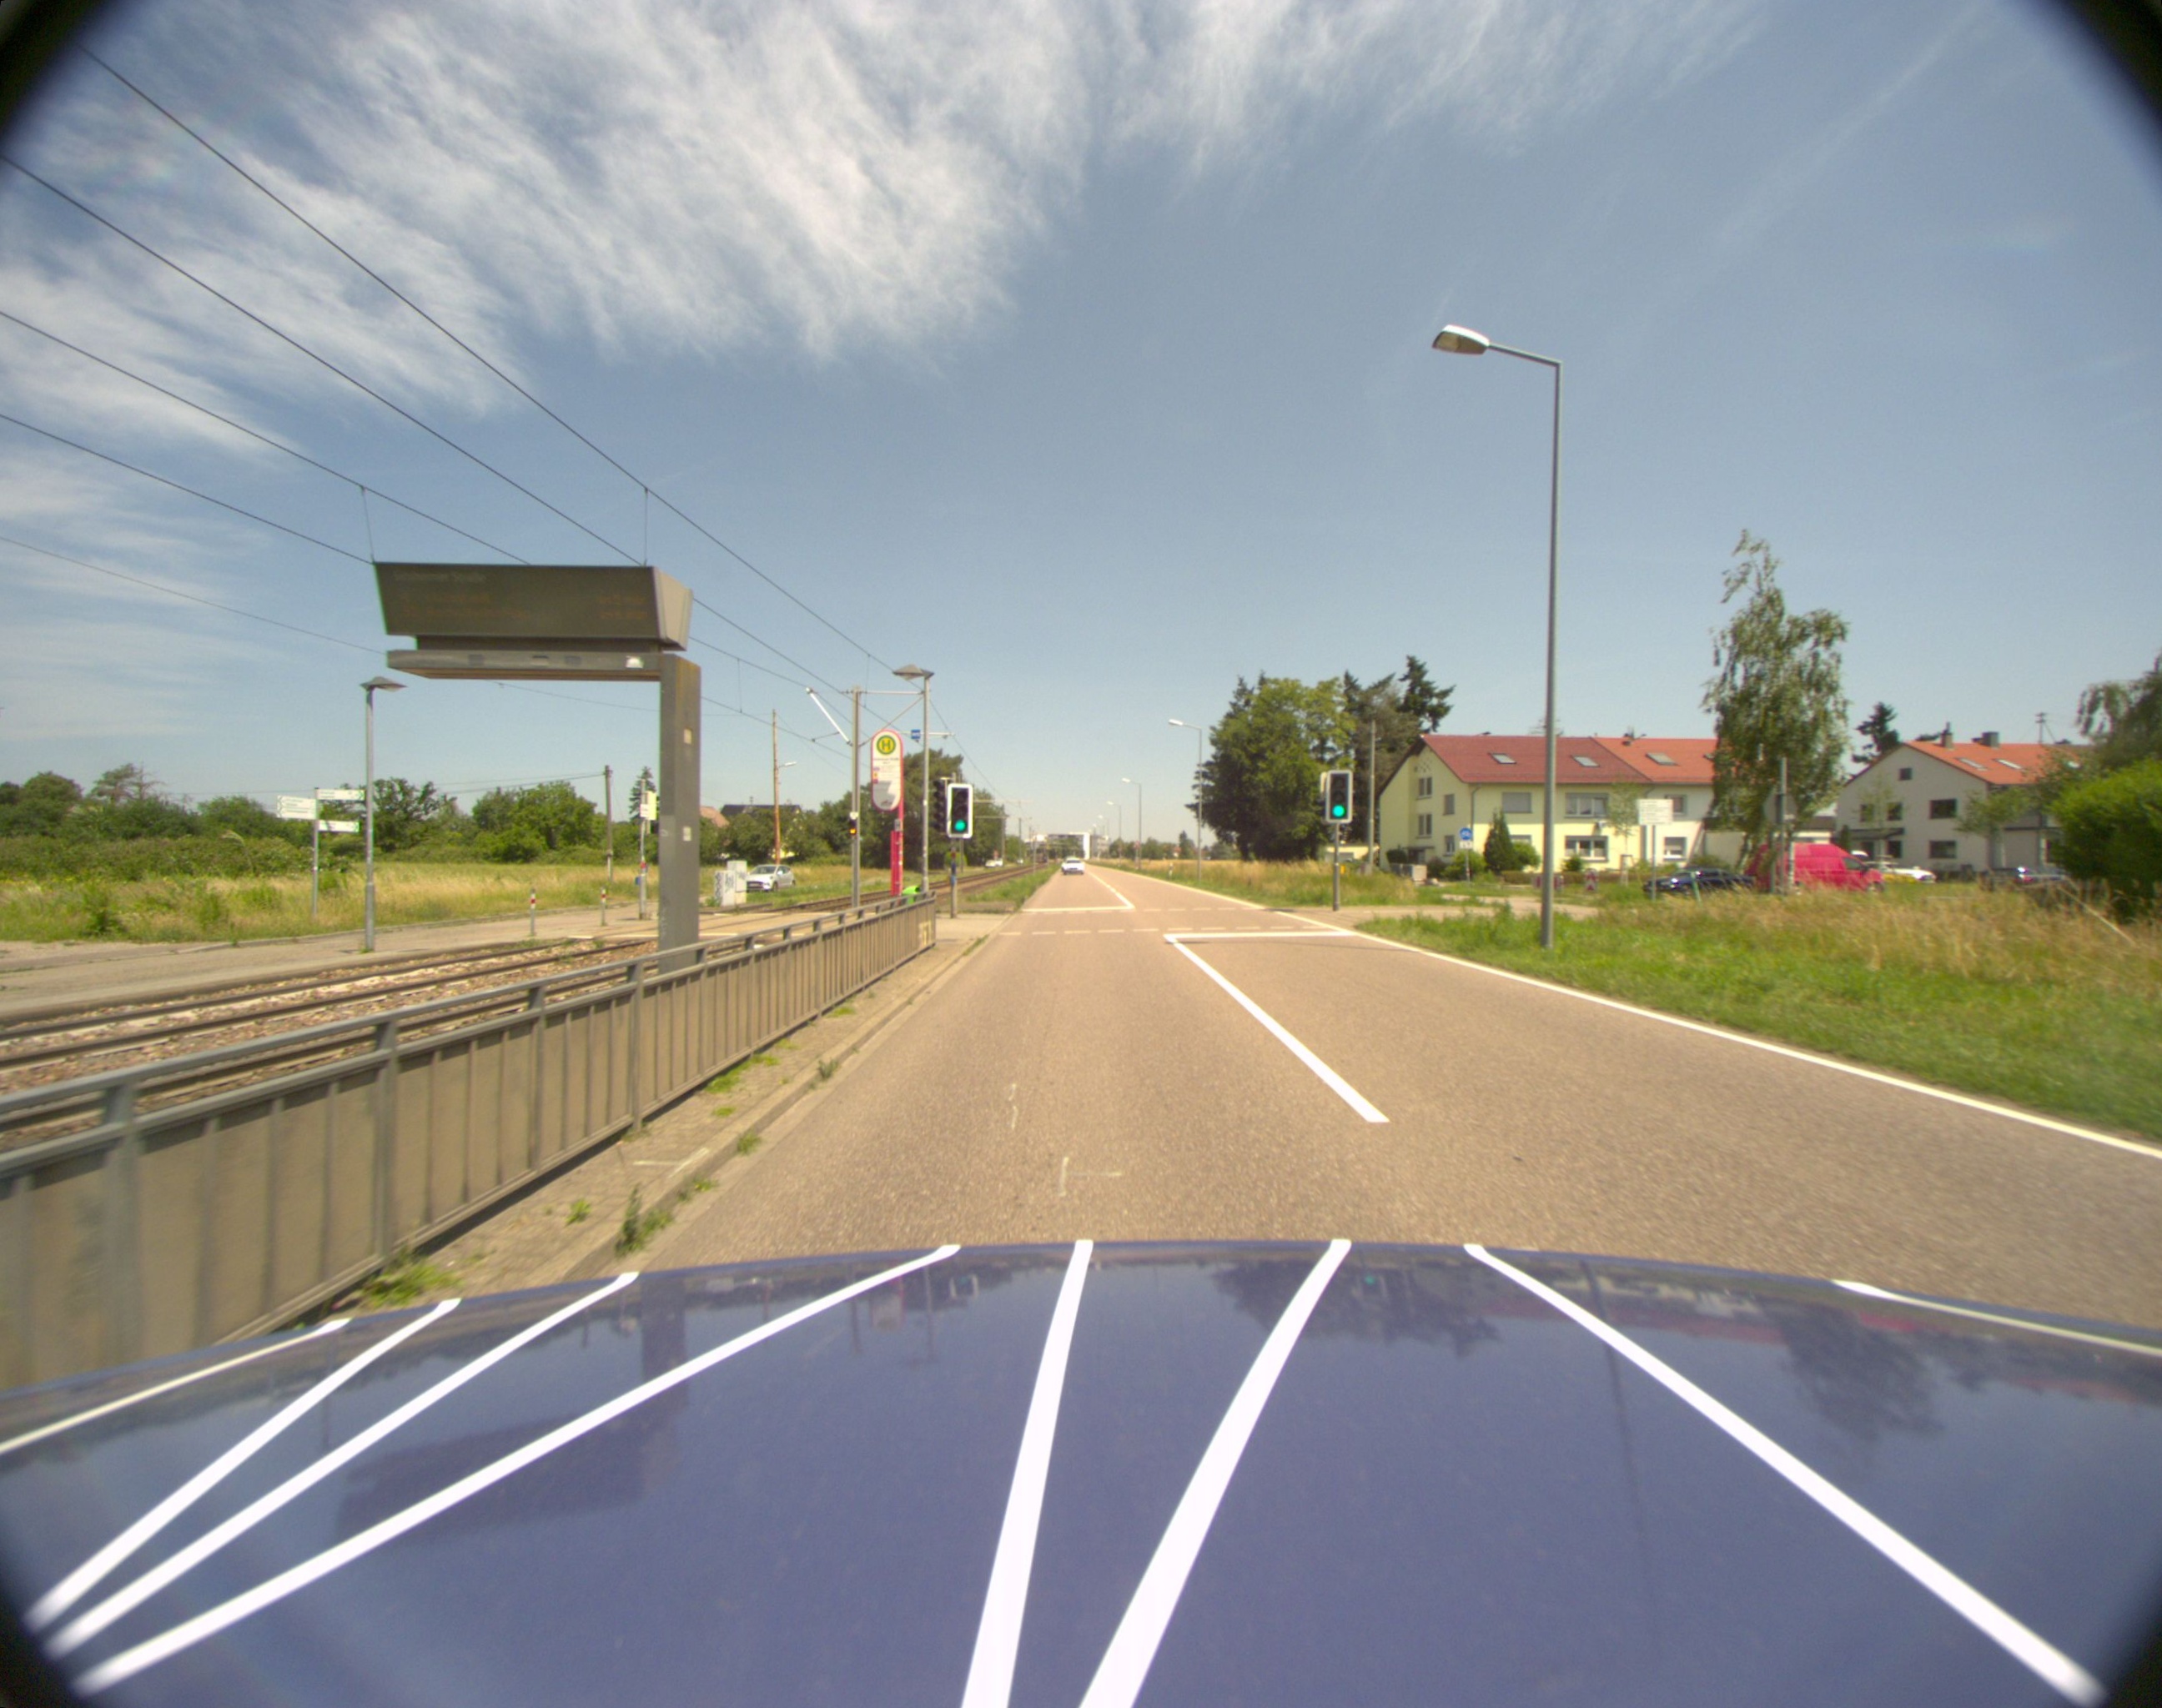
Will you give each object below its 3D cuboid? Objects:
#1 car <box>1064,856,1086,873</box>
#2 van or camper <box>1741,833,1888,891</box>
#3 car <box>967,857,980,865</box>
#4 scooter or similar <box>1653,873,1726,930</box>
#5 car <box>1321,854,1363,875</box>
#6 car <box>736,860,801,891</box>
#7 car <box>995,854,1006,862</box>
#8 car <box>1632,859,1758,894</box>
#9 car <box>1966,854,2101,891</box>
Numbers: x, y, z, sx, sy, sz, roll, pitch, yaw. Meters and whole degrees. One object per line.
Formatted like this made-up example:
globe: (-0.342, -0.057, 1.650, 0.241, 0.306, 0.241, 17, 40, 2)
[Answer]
car: (-0.503, 0.933, 67.758, 1.856, 1.447, 3.705, -1, 0, 0)
van or camper: (32.386, 0.345, 33.637, 4.767, 2.374, 1.999, -1, 1, -4)
car: (-20.174, 1.251, 142.693, 1.923, 1.376, 3.999, -1, 0, 0)
scooter or similar: (12.497, 0.960, 15.619, 1.021, 1.121, 0.648, 0, 0, -10)
car: (19.884, 0.805, 57.994, 1.711, 1.483, 4.185, -1, 0, -1)
car: (-16.548, 1.124, 40.424, 1.717, 1.480, 4.001, -1, 0, 0)
car: (-18.422, 0.892, 174.021, 1.863, 1.816, 4.586, -1, 0, 0)
car: (26.775, 0.955, 33.206, 3.998, 1.346, 1.999, -1, 0, -4)
car: (43.052, 0.808, 34.394, 3.998, 1.510, 1.868, -1, 1, -4)
